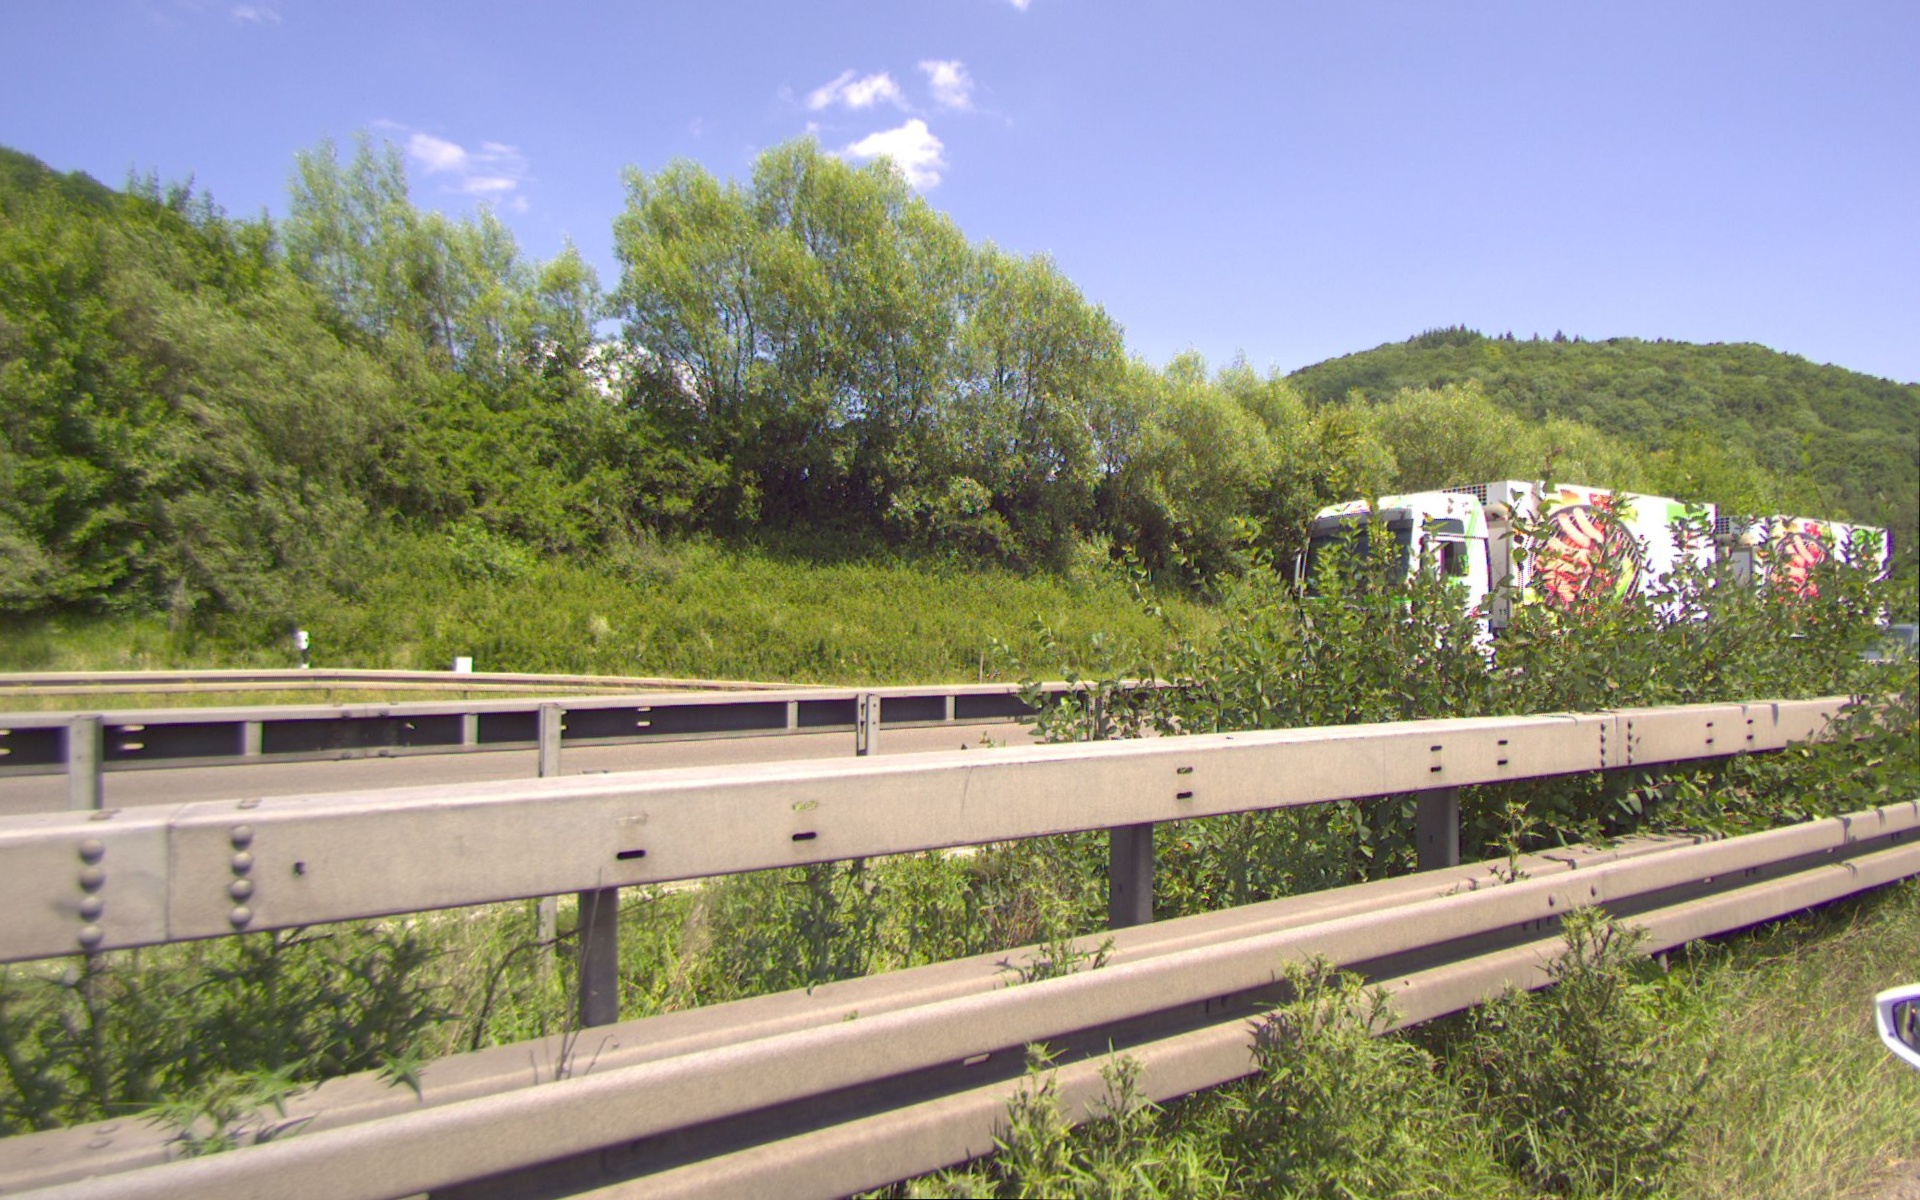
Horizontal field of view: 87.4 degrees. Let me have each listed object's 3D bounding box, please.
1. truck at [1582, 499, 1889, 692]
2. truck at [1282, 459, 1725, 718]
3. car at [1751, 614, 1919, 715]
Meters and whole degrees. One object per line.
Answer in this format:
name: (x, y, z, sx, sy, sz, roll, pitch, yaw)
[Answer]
truck: (19.067, -0.012, 24.490, 8.927, 4.033, 2.855, 1, 0, -31)
truck: (10.882, -0.094, 19.563, 10.053, 4.060, 2.855, 1, 0, -31)
car: (17.373, 1.150, 19.088, 4.972, 1.663, 1.984, 1, 0, -30)
